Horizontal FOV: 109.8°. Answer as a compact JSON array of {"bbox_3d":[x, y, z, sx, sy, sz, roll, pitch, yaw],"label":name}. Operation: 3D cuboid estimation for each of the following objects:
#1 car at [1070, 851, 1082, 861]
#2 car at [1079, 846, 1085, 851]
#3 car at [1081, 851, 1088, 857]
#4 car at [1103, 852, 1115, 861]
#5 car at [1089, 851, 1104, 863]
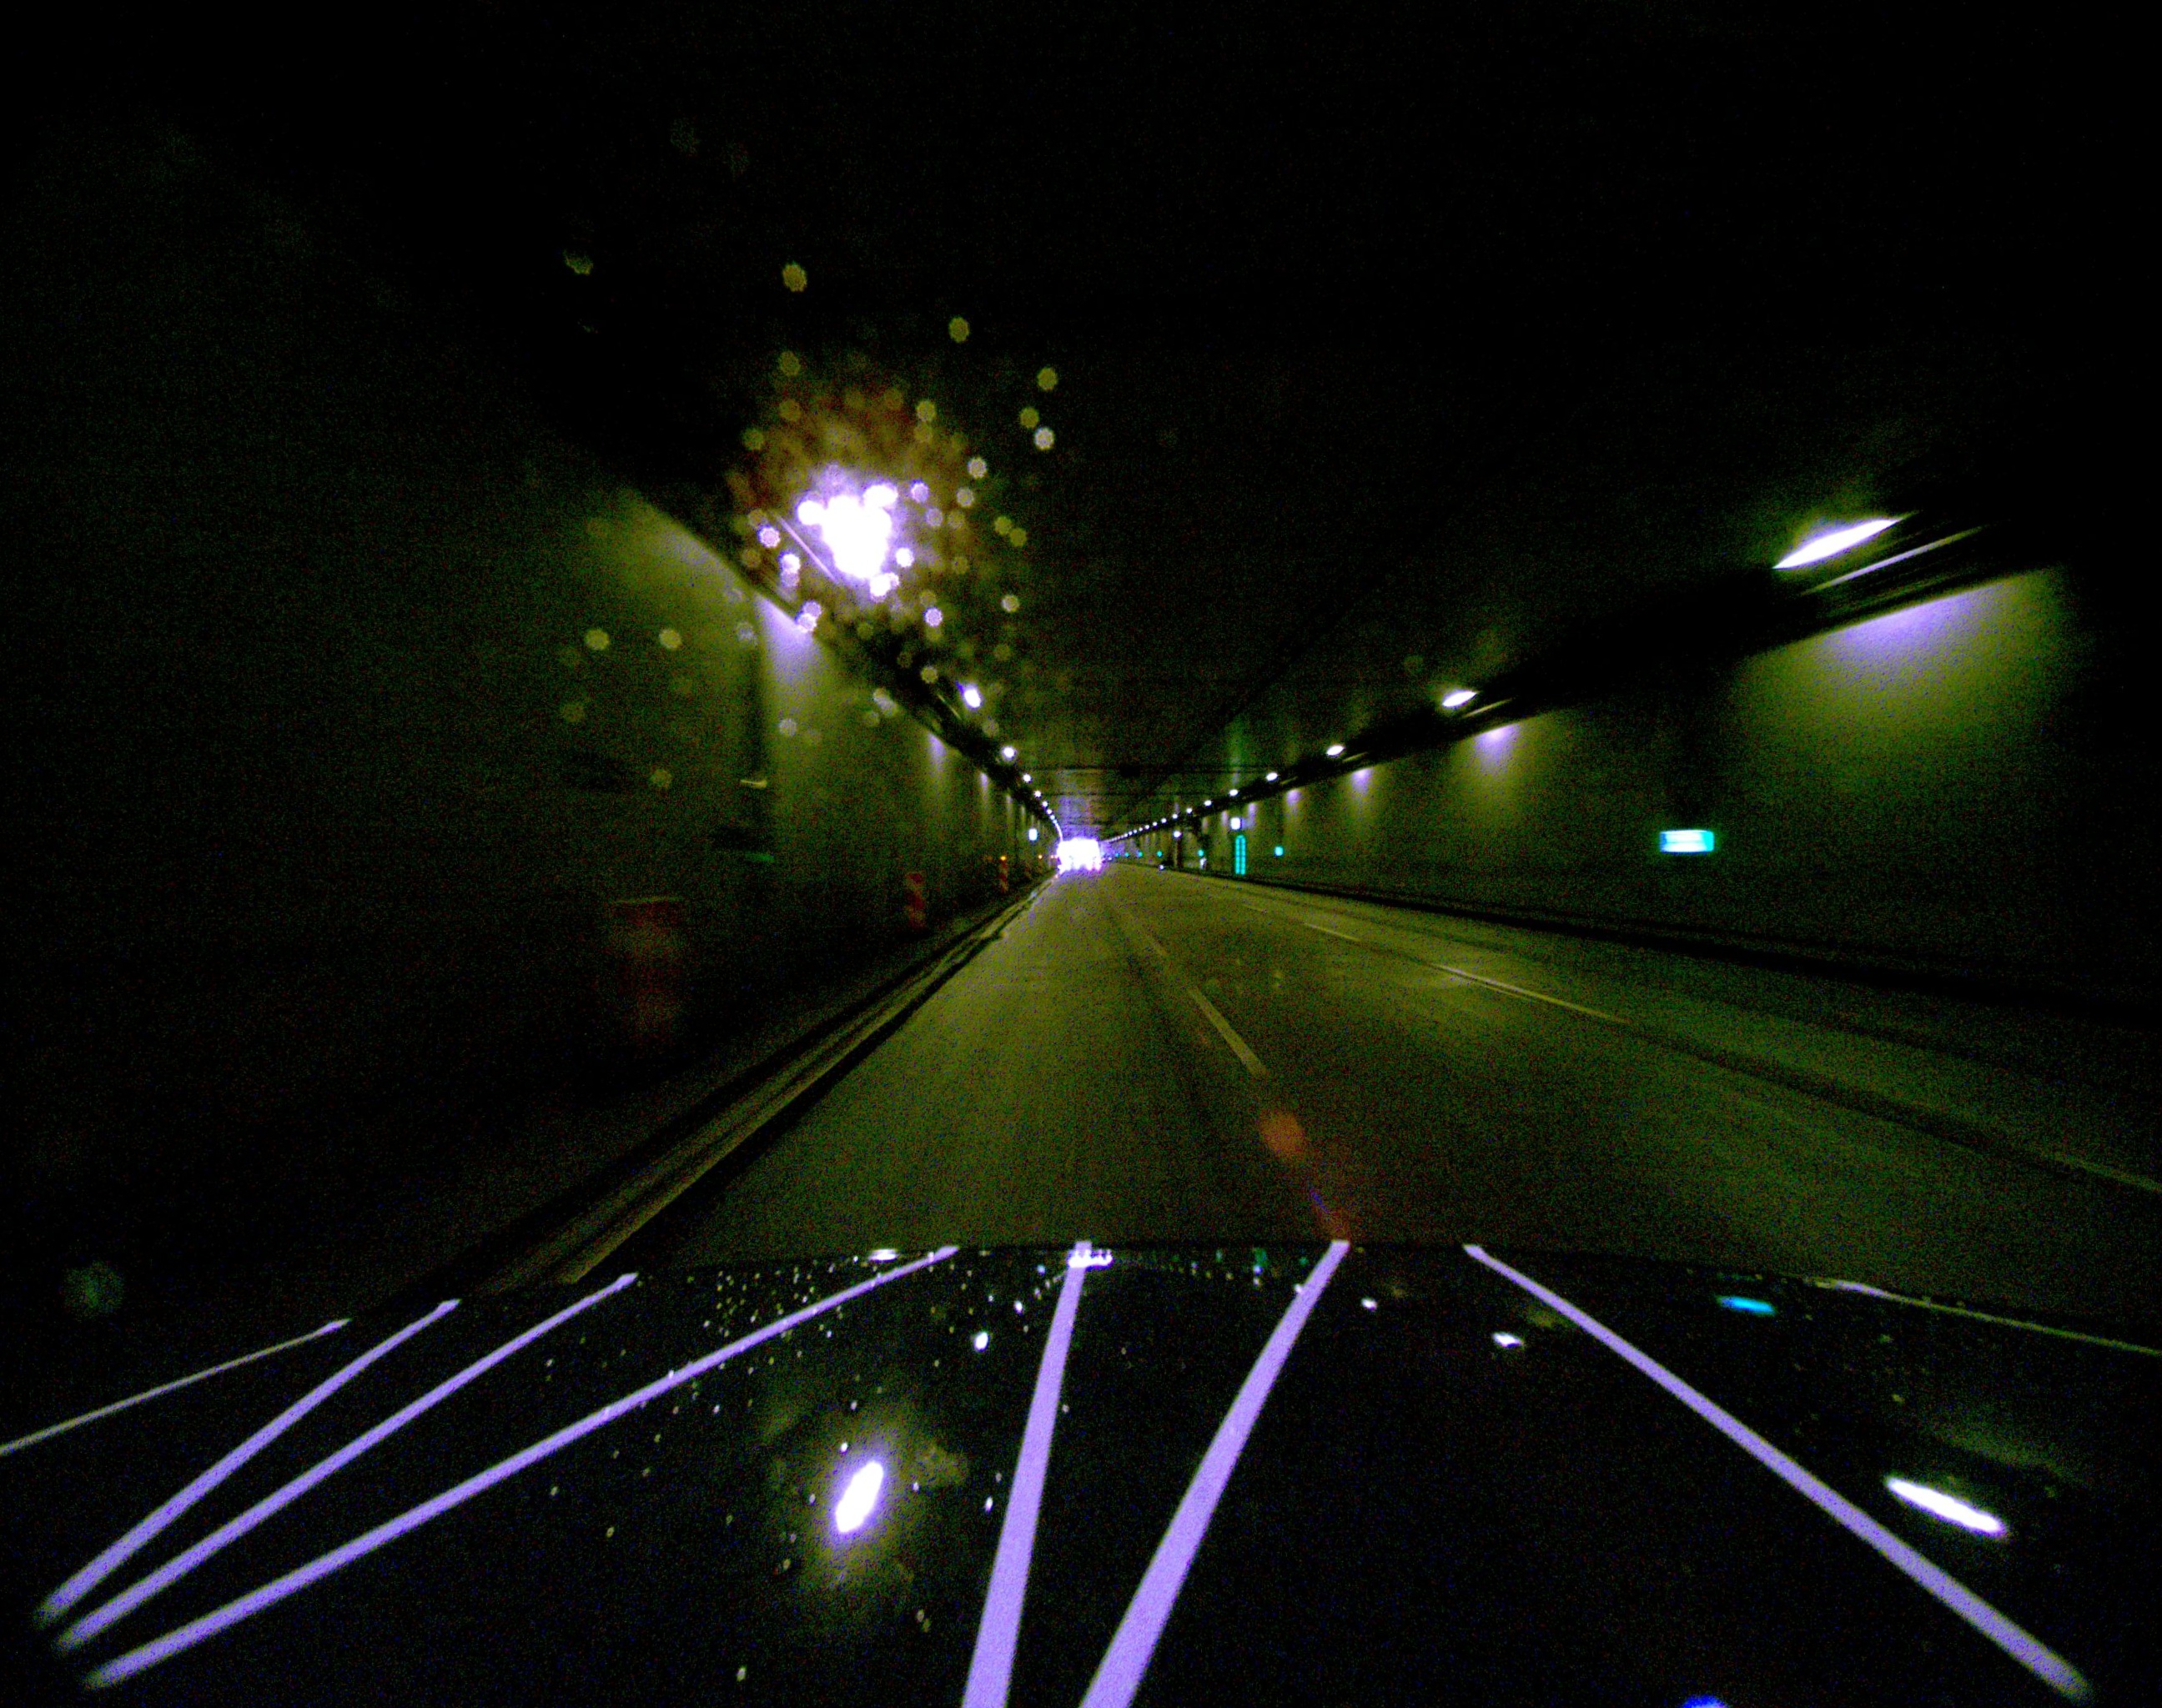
[{"bbox_3d":[-0.843,0.345,133.170,1.998,1.686,4.000,-3,0,1],"label":"car"},{"bbox_3d":[0.355,-1.827,252.512,1.998,1.756,4.000,-3,0,1],"label":"car"},{"bbox_3d":[1.001,0.009,211.491,1.998,1.756,4.000,-3,0,1],"label":"car"},{"bbox_3d":[5.127,0.496,140.888,1.998,1.685,4.000,-2,-1,0],"label":"car"},{"bbox_3d":[2.687,0.499,127.451,1.997,1.686,4.002,-3,1,7],"label":"car"}]
